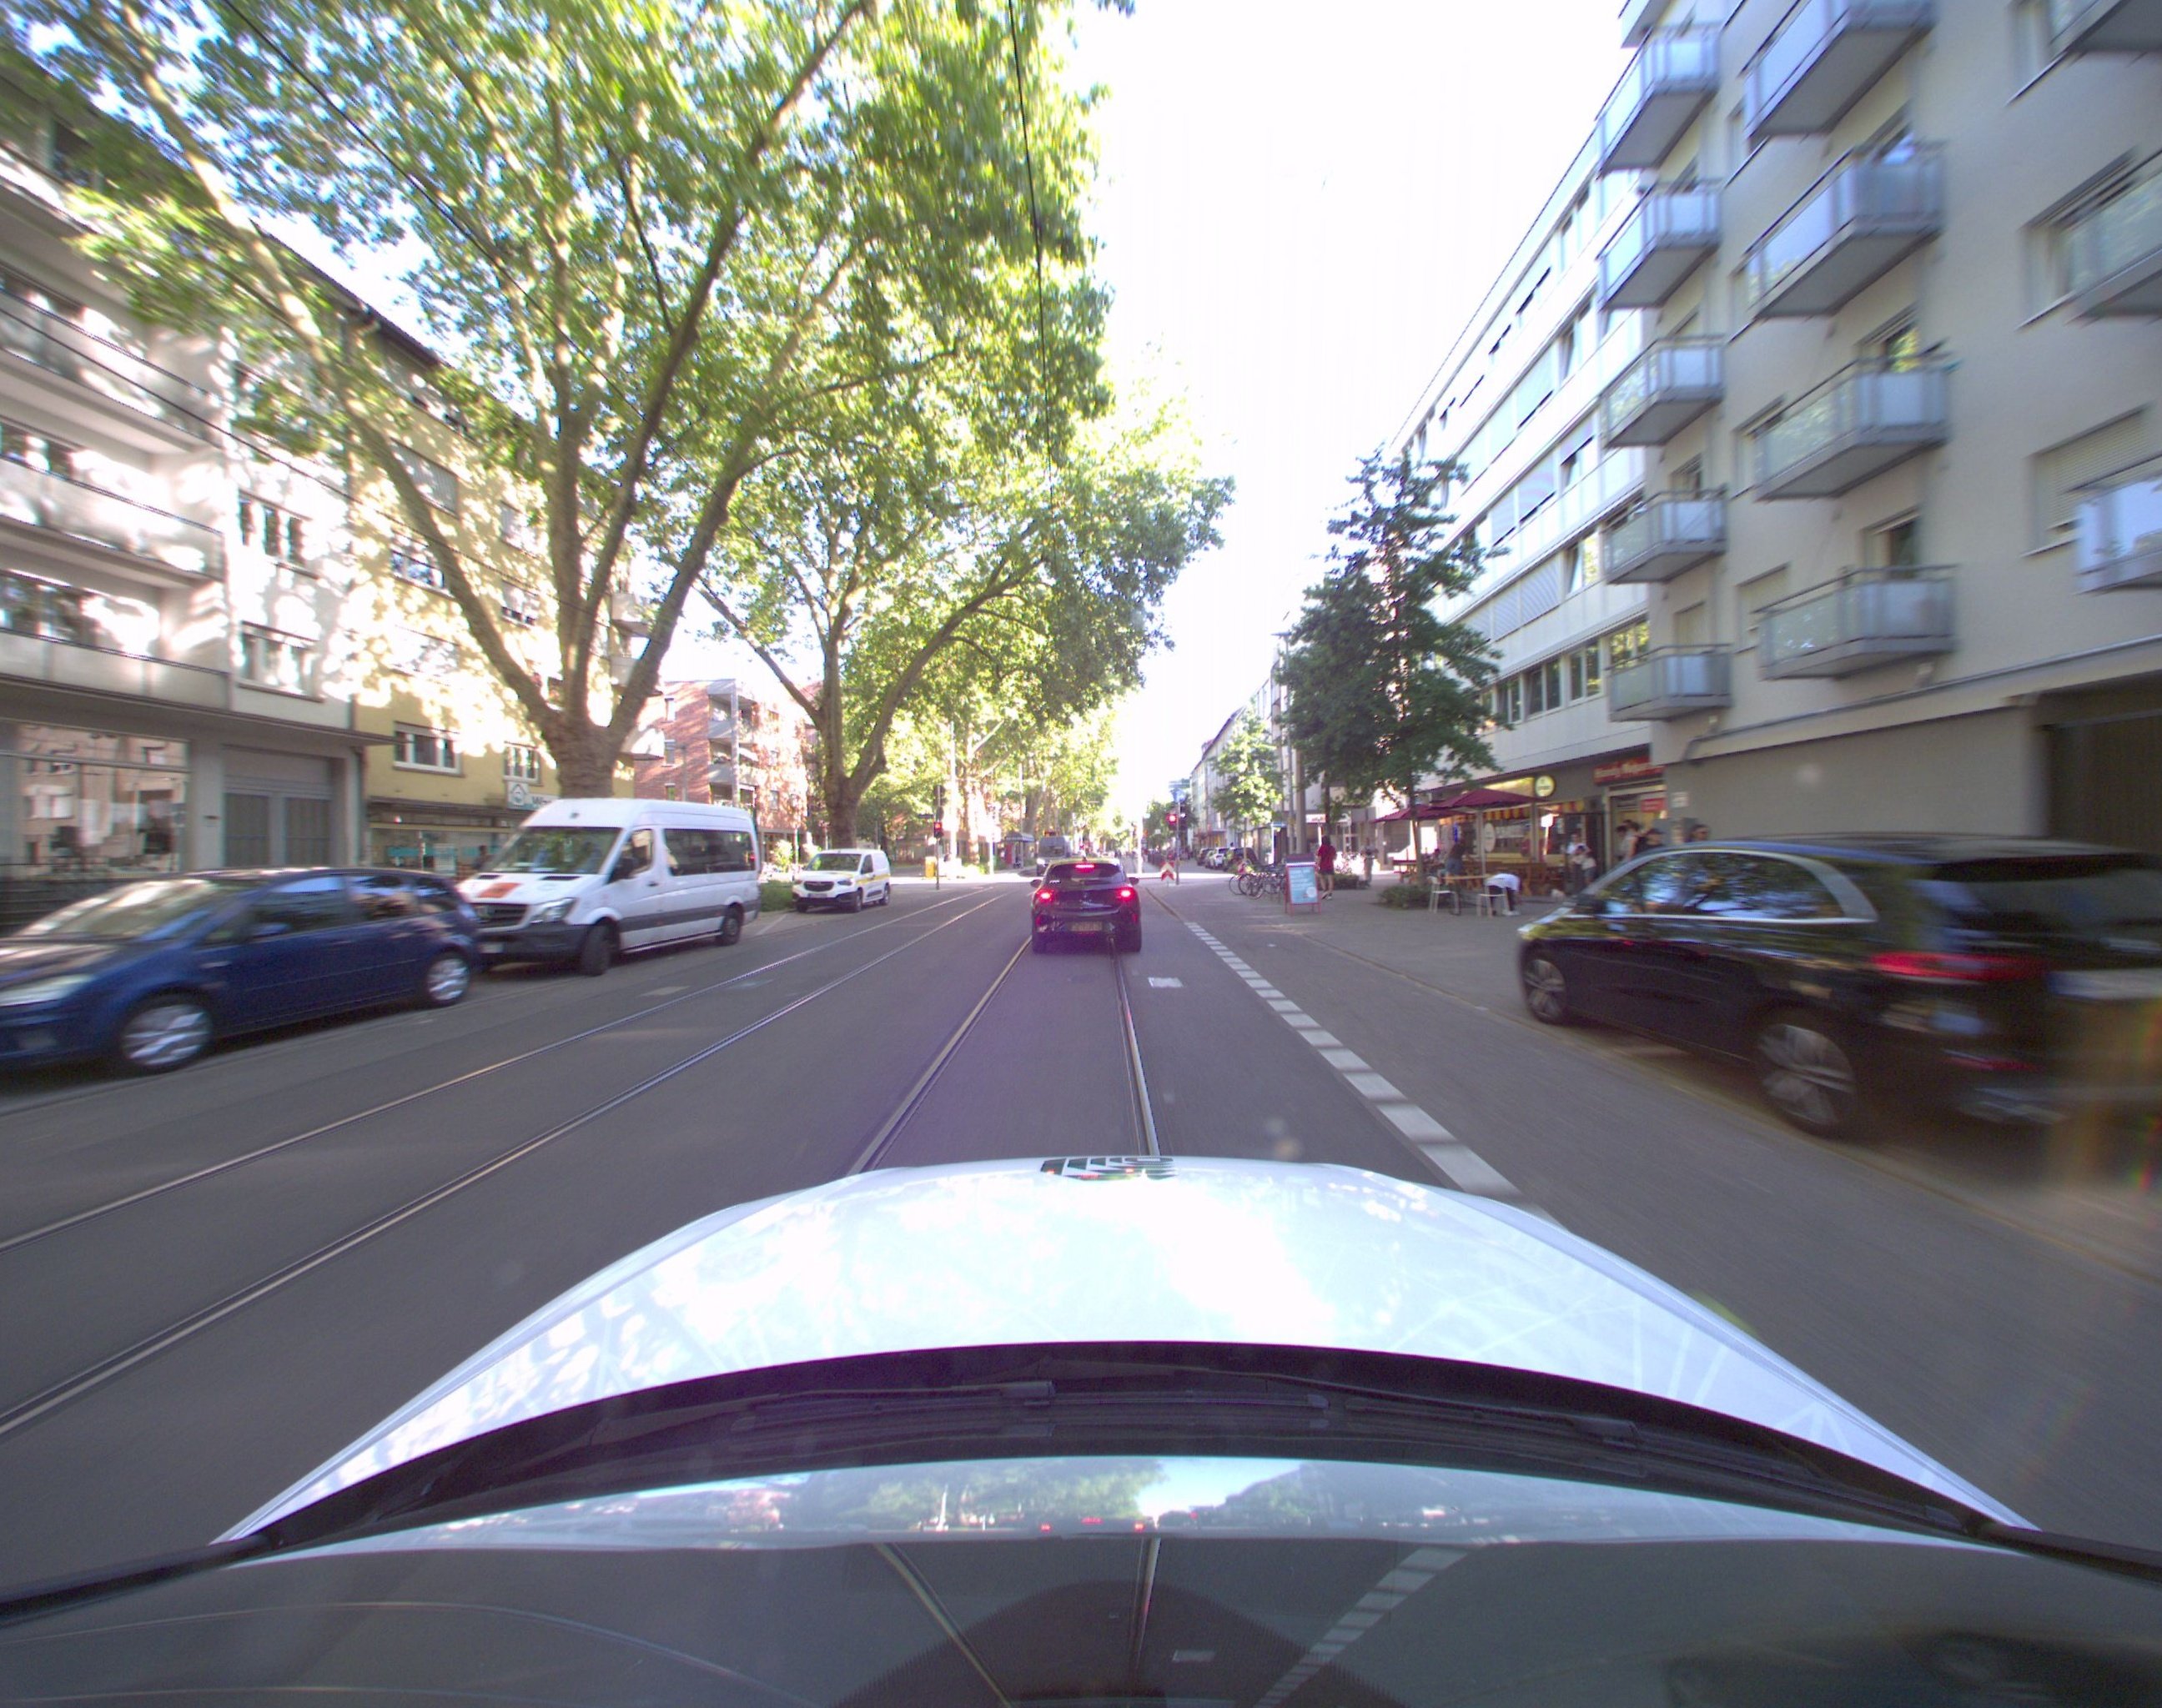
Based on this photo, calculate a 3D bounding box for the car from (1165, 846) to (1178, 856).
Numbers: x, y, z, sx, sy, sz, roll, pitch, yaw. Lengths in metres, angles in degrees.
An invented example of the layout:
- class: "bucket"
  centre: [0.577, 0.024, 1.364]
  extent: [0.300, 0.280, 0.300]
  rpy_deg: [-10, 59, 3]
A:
- class: "car"
  centre: [14.526, -0.432, 130.730]
  extent: [1.985, 1.486, 4.004]
  rpy_deg: [-1, 0, 3]

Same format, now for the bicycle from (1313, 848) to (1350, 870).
- class: "bicycle"
  centre: [14.073, 0.283, 45.815]
  extent: [1.908, 1.207, 0.511]
  rpy_deg: [-2, 0, -1]

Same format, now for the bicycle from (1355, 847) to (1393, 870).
- class: "bicycle"
  centre: [16.126, 0.242, 44.798]
  extent: [1.908, 1.207, 0.511]
  rpy_deg: [-1, 1, -1]

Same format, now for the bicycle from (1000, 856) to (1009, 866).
- class: "bicycle"
  centre: [-9.377, 0.833, 99.426]
  extent: [0.779, 1.111, 2.596]
  rpy_deg: [0, 0, 1]

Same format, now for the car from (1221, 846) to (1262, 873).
- class: "car"
  centre: [10.629, 0.359, 54.222]
  extent: [1.985, 1.615, 4.449]
  rpy_deg: [-3, 0, 3]

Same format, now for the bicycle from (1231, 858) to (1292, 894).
- class: "bicycle"
  centre: [5.657, 0.695, 25.524]
  extent: [1.812, 1.100, 0.497]
  rpy_deg: [0, -1, -6]

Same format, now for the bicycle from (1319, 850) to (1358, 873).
- class: "bicycle"
  centre: [13.971, 0.396, 44.172]
  extent: [1.908, 1.207, 0.511]
  rpy_deg: [-2, 1, -1]

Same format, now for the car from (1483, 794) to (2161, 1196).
- class: "car"
  centre: [4.649, 0.563, 5.540]
  extent: [1.752, 1.587, 4.332]
  rpy_deg: [-5, 0, 3]

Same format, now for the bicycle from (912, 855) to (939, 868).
- class: "bicycle"
  centre: [-14.299, 0.703, 75.080]
  extent: [2.330, 1.166, 0.682]
  rpy_deg: [0, 0, 3]

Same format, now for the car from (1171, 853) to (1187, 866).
- class: "car"
  centre: [14.251, 0.768, 118.236]
  extent: [1.985, 1.797, 4.003]
  rpy_deg: [-1, 0, 3]

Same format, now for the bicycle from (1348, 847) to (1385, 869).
- class: "bicycle"
  centre: [16.124, 0.242, 46.076]
  extent: [1.908, 1.208, 0.511]
  rpy_deg: [0, -1, -1]

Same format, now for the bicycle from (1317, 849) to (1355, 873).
- class: "bicycle"
  centre: [13.992, 0.372, 44.728]
  extent: [1.908, 1.207, 0.511]
  rpy_deg: [-2, 1, -1]

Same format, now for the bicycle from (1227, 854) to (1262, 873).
- class: "bicycle"
  centre: [10.237, 0.599, 50.890]
  extent: [2.112, 1.187, 0.683]
  rpy_deg: [-1, 0, 11]

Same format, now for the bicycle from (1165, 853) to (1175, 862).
- class: "bicycle"
  centre: [11.132, 0.398, 101.755]
  extent: [0.859, 1.136, 2.393]
  rpy_deg: [0, 0, -3]

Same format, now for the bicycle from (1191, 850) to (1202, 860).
- class: "bicycle"
  centre: [13.835, 0.136, 97.443]
  extent: [0.621, 1.136, 2.433]
  rpy_deg: [0, 0, -8]

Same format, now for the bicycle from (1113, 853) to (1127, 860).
- class: "bicycle"
  centre: [6.996, 0.493, 147.698]
  extent: [2.474, 1.240, 0.957]
  rpy_deg: [0, 0, -3]

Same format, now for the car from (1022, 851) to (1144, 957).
- class: "car"
  centre: [0.070, 0.738, 13.776]
  extent: [1.753, 1.508, 3.684]
  rpy_deg: [-2, 0, 1]

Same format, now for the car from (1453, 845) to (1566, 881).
- class: "car"
  centre: [19.792, 0.418, 37.744]
  extent: [4.239, 1.592, 1.965]
  rpy_deg: [-1, -1, -3]

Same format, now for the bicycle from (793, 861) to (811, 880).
- class: "bicycle"
  centre: [-17.487, 1.021, 51.138]
  extent: [0.539, 1.084, 1.538]
  rpy_deg: [0, 2, 2]

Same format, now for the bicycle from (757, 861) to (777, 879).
- class: "bicycle"
  centre: [-19.788, 1.001, 51.381]
  extent: [0.539, 1.084, 1.640]
  rpy_deg: [0, 2, 2]

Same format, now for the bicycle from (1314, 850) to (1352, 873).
- class: "bicycle"
  centre: [14.000, 0.393, 45.262]
  extent: [1.908, 1.207, 0.511]
  rpy_deg: [-2, 0, -1]

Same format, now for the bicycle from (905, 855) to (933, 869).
- class: "bicycle"
  centre: [-14.769, 0.738, 74.257]
  extent: [2.447, 1.219, 0.682]
  rpy_deg: [1, 0, 3]

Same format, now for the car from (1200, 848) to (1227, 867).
- class: "car"
  centre: [10.970, 0.291, 67.591]
  extent: [1.736, 1.440, 4.251]
  rpy_deg: [-1, 0, 3]

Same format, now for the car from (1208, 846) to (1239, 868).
- class: "car"
  centre: [10.699, 0.248, 61.331]
  extent: [1.792, 1.606, 4.419]
  rpy_deg: [-1, 0, 3]

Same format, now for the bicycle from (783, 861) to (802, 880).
- class: "bicycle"
  centre: [-18.112, 1.016, 51.159]
  extent: [0.539, 1.084, 1.640]
  rpy_deg: [0, 2, 2]

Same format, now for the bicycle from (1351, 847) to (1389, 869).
- class: "bicycle"
  centre: [16.120, 0.234, 45.412]
  extent: [1.908, 1.207, 0.511]
  rpy_deg: [0, -1, -1]

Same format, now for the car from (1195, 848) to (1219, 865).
- class: "car"
  centre: [11.942, 0.238, 77.418]
  extent: [1.849, 1.615, 4.402]
  rpy_deg: [-1, 0, 3]

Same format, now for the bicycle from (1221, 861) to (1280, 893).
- class: "bicycle"
  centre: [5.485, 0.738, 26.442]
  extent: [1.809, 0.994, 0.481]
  rpy_deg: [0, -1, 0]

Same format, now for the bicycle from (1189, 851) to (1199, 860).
- class: "bicycle"
  centre: [13.859, 0.176, 100.184]
  extent: [0.602, 1.136, 2.428]
  rpy_deg: [0, 0, -8]

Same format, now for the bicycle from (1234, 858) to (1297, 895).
- class: "bicycle"
  centre: [5.657, 0.689, 24.969]
  extent: [1.812, 1.100, 0.480]
  rpy_deg: [0, -1, -6]

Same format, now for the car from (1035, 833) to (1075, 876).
- class: "car"
  centre: [-1.724, 0.064, 56.002]
  extent: [2.105, 2.738, 6.120]
  rpy_deg: [-2, 0, 3]

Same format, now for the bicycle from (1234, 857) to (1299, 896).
- class: "bicycle"
  centre: [5.483, 0.660, 24.129]
  extent: [1.808, 1.100, 0.525]
  rpy_deg: [-2, -1, 2]

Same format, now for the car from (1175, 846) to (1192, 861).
- class: "car"
  centre: [14.049, -0.092, 111.806]
  extent: [1.985, 1.952, 4.003]
  rpy_deg: [-1, 0, 3]
